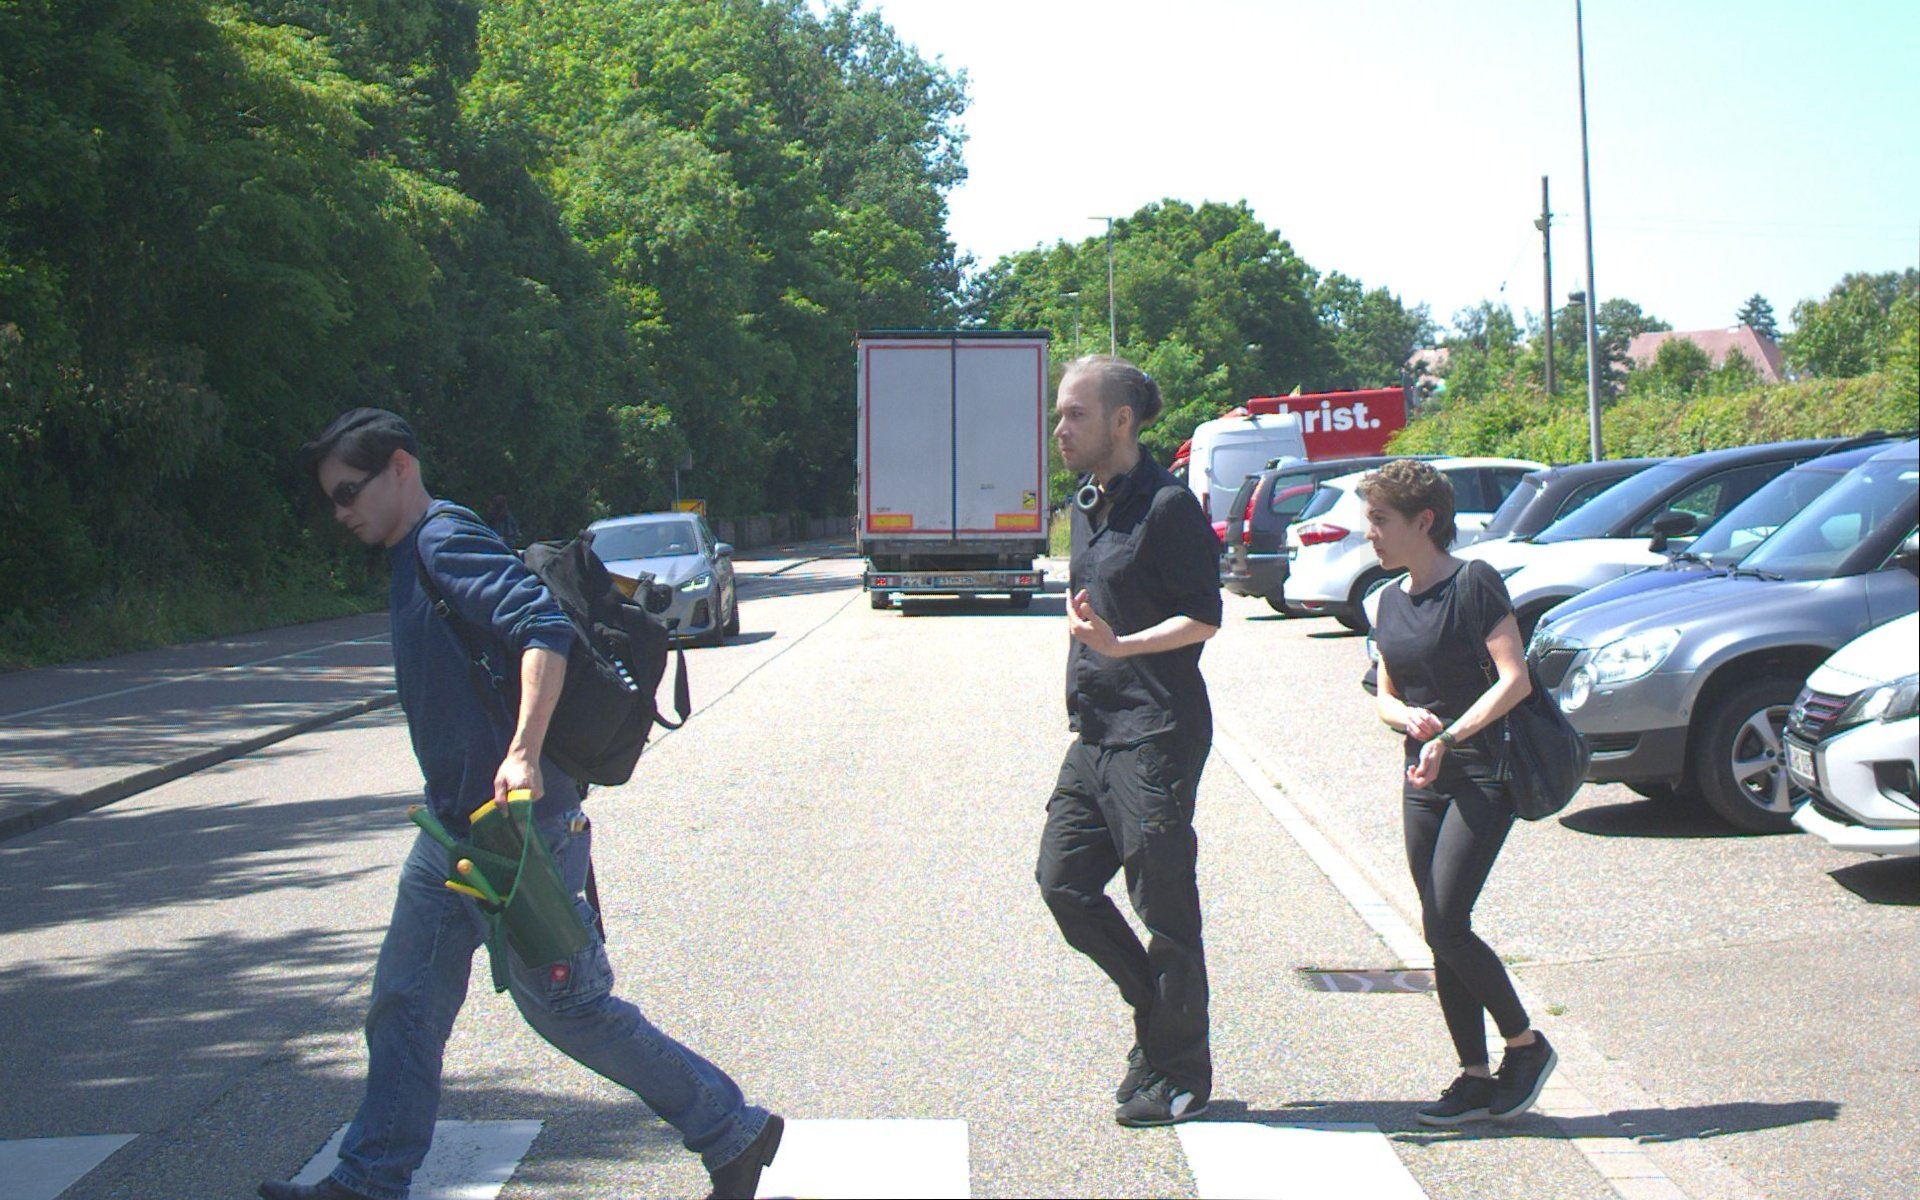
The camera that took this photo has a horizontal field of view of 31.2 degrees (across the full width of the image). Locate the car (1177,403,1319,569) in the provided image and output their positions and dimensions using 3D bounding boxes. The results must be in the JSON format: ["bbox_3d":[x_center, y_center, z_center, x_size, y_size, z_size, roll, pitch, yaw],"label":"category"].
[{"bbox_3d":[5.183,-2.091,62.768,1.954,2.724,7.168,-4,2,1],"label":"car"}]

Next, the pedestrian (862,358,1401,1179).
[{"bbox_3d":[0.424,0.368,8.429,1.083,1.858,0.783,-1,2,-42],"label":"pedestrian"}]

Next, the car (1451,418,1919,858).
[{"bbox_3d":[4.343,0.021,14.965,3.960,1.634,1.664,-6,2,-5],"label":"car"}]

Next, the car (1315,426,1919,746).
[{"bbox_3d":[4.342,-0.138,20.761,3.962,1.517,1.865,-6,2,-5],"label":"car"}]

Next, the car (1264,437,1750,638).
[{"bbox_3d":[5.225,-0.621,33.198,4.276,1.572,1.766,-4,2,-1],"label":"car"}]

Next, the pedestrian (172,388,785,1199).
[{"bbox_3d":[-0.949,0.458,7.103,1.155,1.745,1.023,0,1,-3],"label":"pedestrian"}]

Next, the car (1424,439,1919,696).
[{"bbox_3d":[5.015,-0.247,23.752,3.388,1.498,1.588,-4,2,4],"label":"car"}]

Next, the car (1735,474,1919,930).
[{"bbox_3d":[4.775,0.173,12.083,3.690,1.445,1.610,-5,2,4],"label":"car"}]

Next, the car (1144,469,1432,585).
[{"bbox_3d":[4.954,-1.128,52.270,4.053,1.429,1.836,-4,2,-2],"label":"car"}]

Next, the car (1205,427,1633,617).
[{"bbox_3d":[5.213,-0.896,39.406,4.452,1.798,1.953,-4,1,-4],"label":"car"}]

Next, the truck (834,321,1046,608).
[{"bbox_3d":[-0.161,-1.982,51.963,2.733,3.733,13.246,-1,2,1],"label":"truck"}]

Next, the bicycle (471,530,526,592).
[{"bbox_3d":[-8.152,-0.699,60.830,0.561,1.023,1.839,-2,2,4],"label":"bicycle"}]

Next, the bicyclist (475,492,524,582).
[{"bbox_3d":[-8.147,-1.126,60.858,0.648,1.559,0.837,-2,2,4],"label":"bicyclist"}]

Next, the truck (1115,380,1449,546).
[{"bbox_3d":[7.220,-3.064,76.855,7.140,3.428,2.329,-1,3,11],"label":"truck"}]

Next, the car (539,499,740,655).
[{"bbox_3d":[-3.669,-0.315,40.007,1.891,1.527,4.197,-6,2,-1],"label":"car"}]

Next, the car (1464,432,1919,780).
[{"bbox_3d":[4.558,-0.056,17.893,3.452,1.522,1.540,-6,2,-5],"label":"car"}]

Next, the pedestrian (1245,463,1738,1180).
[{"bbox_3d":[1.279,0.483,8.274,0.894,1.605,0.780,-1,2,-42],"label":"pedestrian"}]
